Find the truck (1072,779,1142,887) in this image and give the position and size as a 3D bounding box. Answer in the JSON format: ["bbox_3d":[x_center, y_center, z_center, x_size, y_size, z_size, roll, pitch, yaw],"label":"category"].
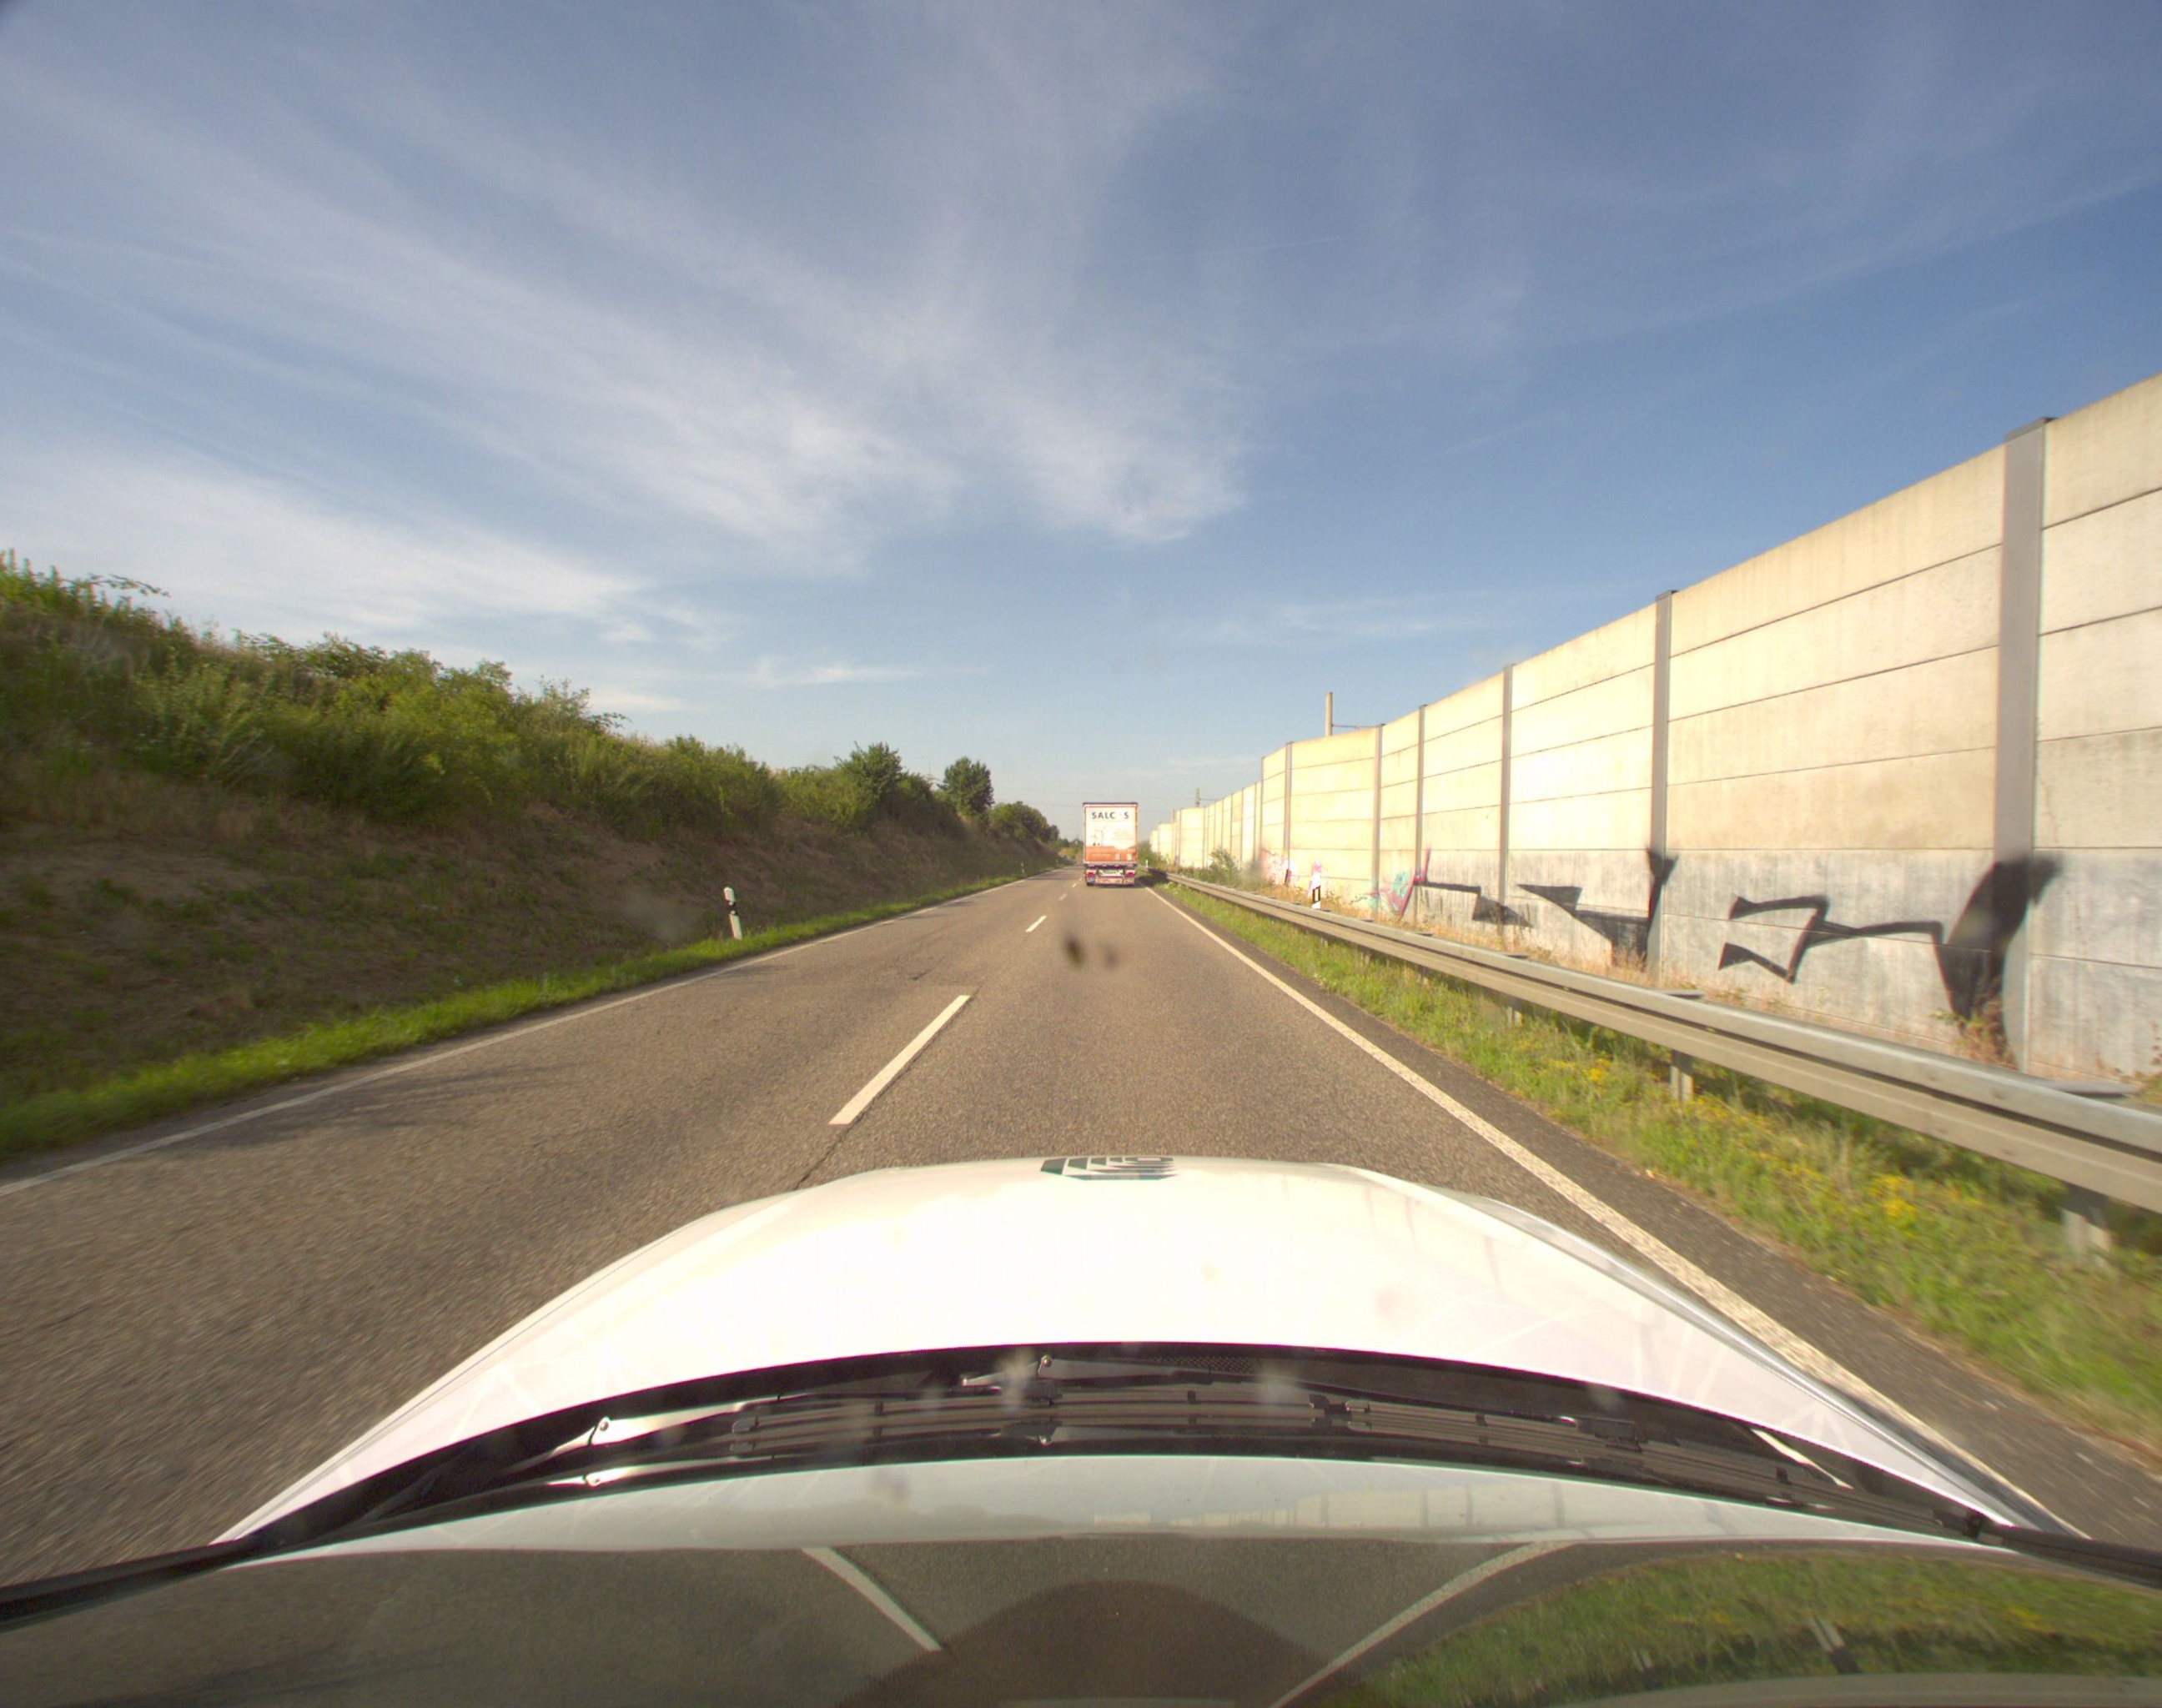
[{"bbox_3d":[1.220,-1.054,44.287,3.280,5.090,12.035,0,0,0],"label":"truck"}]
